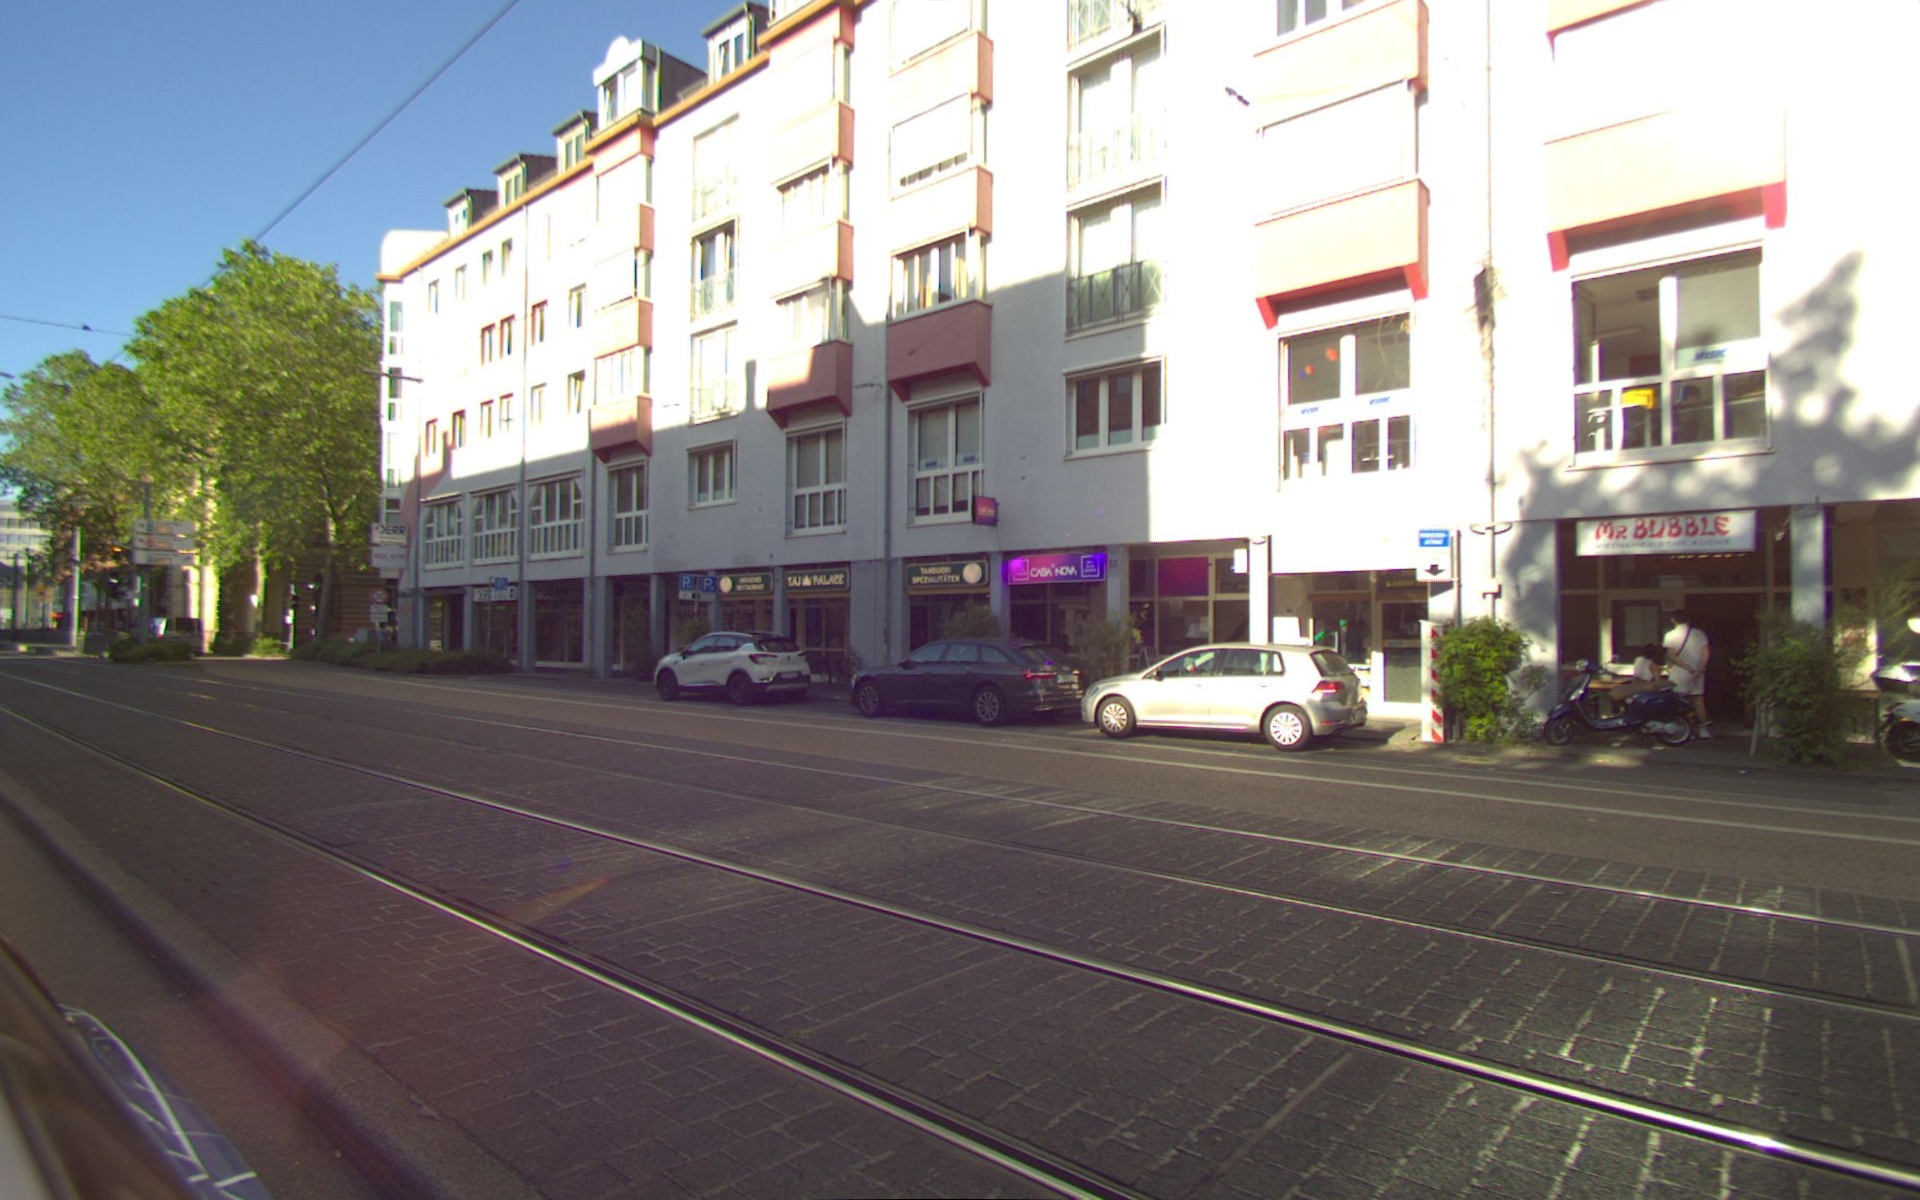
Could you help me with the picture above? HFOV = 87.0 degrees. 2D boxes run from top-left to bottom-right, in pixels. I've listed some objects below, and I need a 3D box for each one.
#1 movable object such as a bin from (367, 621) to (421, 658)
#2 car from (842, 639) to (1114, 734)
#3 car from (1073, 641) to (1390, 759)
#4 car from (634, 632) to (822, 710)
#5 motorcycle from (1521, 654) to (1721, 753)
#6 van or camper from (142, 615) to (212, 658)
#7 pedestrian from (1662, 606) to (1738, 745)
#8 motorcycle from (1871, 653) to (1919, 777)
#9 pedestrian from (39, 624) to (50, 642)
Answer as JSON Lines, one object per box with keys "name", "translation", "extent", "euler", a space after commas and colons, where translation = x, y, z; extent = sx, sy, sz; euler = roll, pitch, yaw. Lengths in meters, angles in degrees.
{"name": "movable object such as a bin", "translation": [-32.480, 2.271, 58.137], "extent": [2.604, 2.029, 1.179], "euler": [1, -3, -25]}
{"name": "car", "translation": [0.210, 1.449, 18.221], "extent": [4.822, 1.469, 1.882], "euler": [-2, -3, 40]}
{"name": "car", "translation": [3.910, 1.359, 14.973], "extent": [4.202, 1.486, 1.734], "euler": [-2, -3, 38]}
{"name": "car", "translation": [-5.377, 1.547, 23.238], "extent": [4.364, 1.626, 1.899], "euler": [-2, -3, 38]}
{"name": "motorcycle", "translation": [8.449, 1.305, 13.030], "extent": [2.068, 1.203, 0.458], "euler": [-2, -1, 23]}
{"name": "van or camper", "translation": [-38.945, 1.832, 50.283], "extent": [4.835, 1.955, 1.971], "euler": [-2, -5, 44]}
{"name": "pedestrian", "translation": [10.247, 1.015, 14.039], "extent": [0.715, 1.857, 0.813], "euler": [-2, -2, 32]}
{"name": "motorcycle", "translation": [11.025, 1.232, 10.650], "extent": [2.080, 1.307, 0.513], "euler": [-2, -1, 40]}
{"name": "pedestrian", "translation": [-97.253, 3.501, 107.515], "extent": [0.665, 1.931, 0.781], "euler": [-2, -3, 39]}
